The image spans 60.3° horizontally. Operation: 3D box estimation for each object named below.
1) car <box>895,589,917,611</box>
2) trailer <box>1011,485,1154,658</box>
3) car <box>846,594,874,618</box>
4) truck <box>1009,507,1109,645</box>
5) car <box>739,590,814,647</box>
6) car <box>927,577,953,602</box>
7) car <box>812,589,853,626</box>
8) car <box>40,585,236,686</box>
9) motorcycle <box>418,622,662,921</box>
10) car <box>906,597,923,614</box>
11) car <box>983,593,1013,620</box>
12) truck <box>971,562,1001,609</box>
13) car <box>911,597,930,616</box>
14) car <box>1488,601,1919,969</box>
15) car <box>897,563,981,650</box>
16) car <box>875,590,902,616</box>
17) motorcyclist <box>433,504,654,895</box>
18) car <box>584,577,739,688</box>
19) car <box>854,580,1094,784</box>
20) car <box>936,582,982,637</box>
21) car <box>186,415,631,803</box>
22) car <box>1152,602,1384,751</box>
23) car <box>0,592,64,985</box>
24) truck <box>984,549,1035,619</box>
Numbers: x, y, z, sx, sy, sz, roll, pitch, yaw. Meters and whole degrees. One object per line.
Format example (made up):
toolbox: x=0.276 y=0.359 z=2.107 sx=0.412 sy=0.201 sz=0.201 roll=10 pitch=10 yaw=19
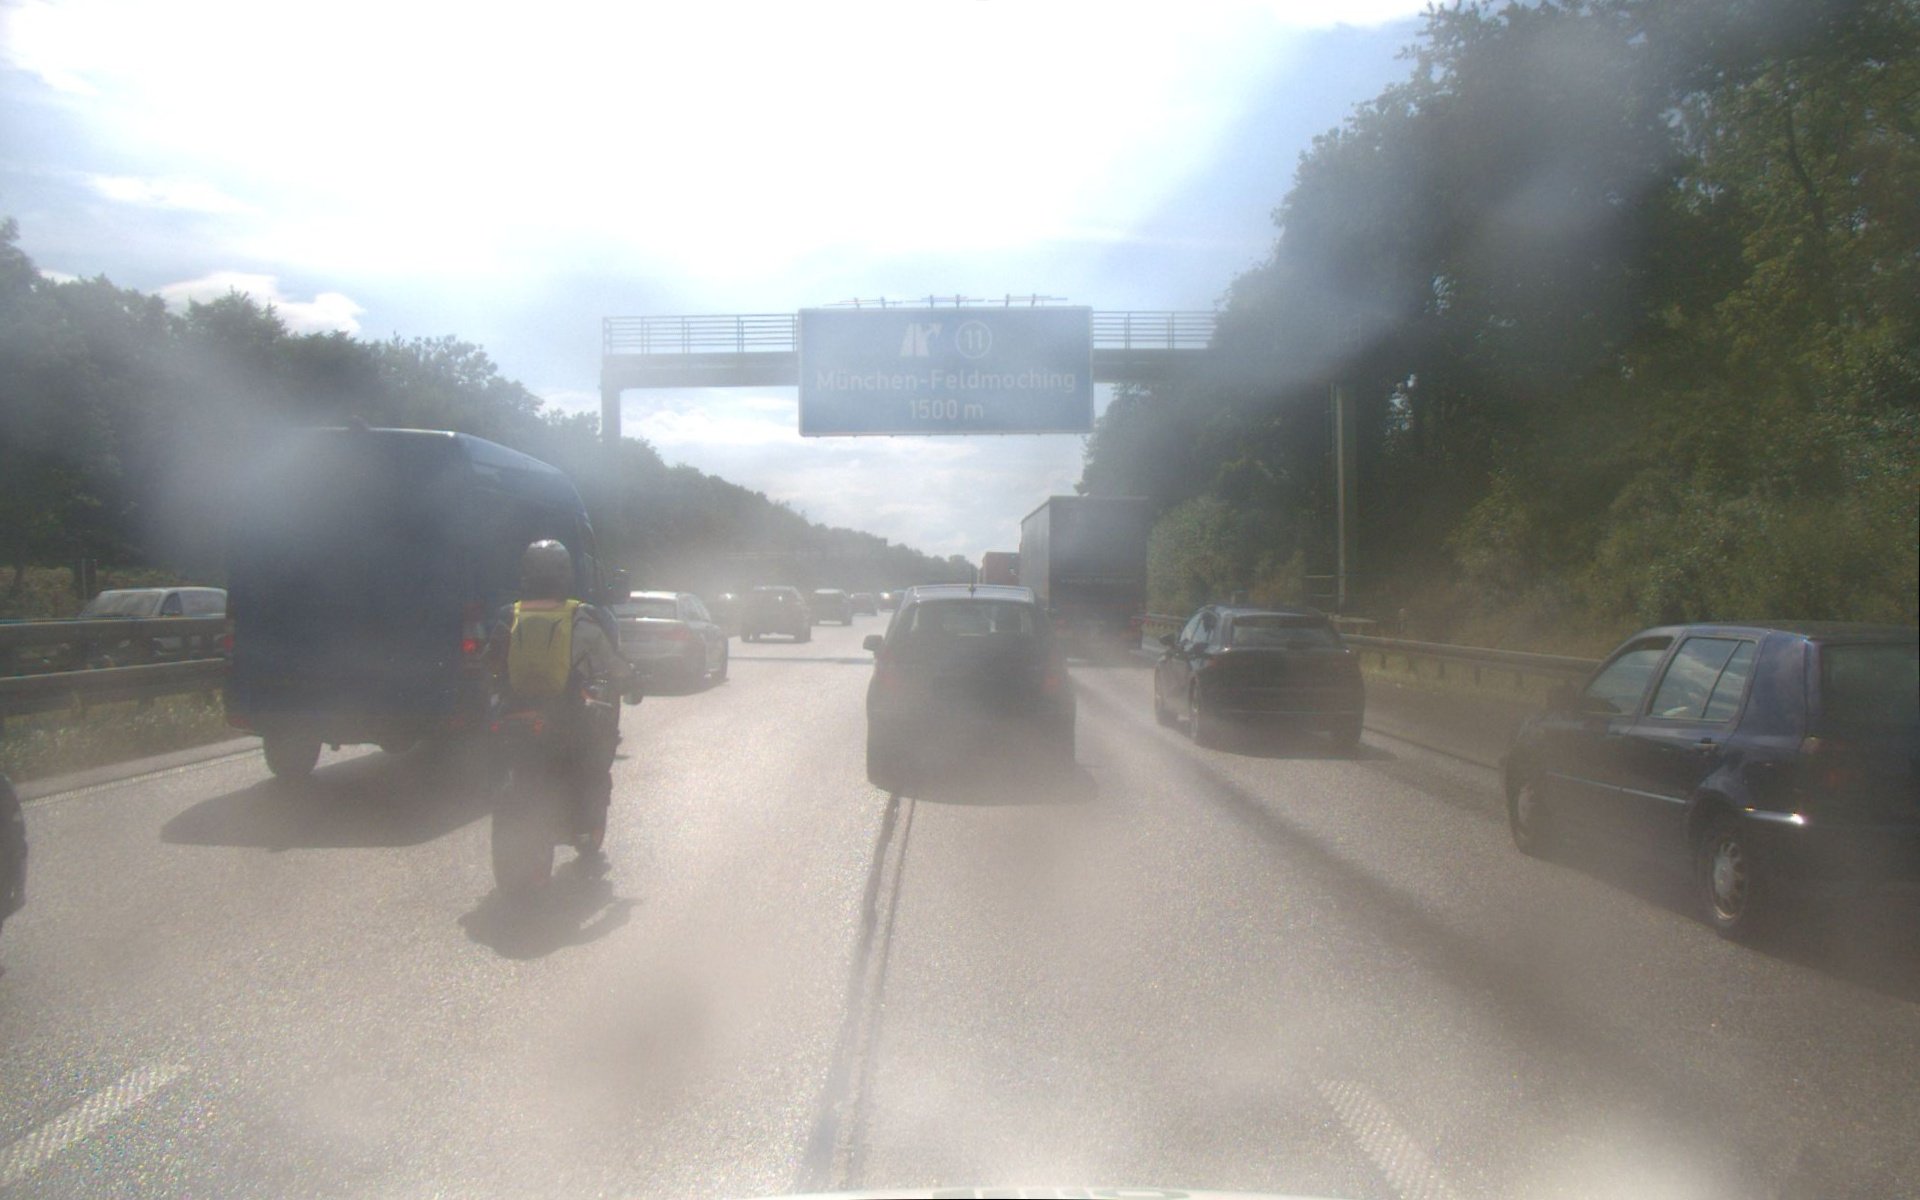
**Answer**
car: x=-5.135 y=0.029 z=156.510 sx=1.953 sy=2.049 sz=3.999 roll=1 pitch=0 yaw=-1
trailer: x=3.343 y=-0.742 z=49.115 sx=3.025 sy=4.388 sz=14.103 roll=1 pitch=0 yaw=-1
car: x=-6.509 y=0.375 z=107.550 sx=1.641 sy=1.516 sz=3.436 roll=1 pitch=0 yaw=-1
truck: x=3.298 y=-0.774 z=56.391 sx=2.989 sy=4.400 sz=5.886 roll=1 pitch=0 yaw=0
car: x=-5.556 y=0.541 z=50.638 sx=1.854 sy=1.656 sz=4.194 roll=1 pitch=0 yaw=-1
car: x=-1.245 y=-0.662 z=104.989 sx=1.598 sy=1.516 sz=3.436 roll=1 pitch=0 yaw=-1
car: x=-5.831 y=0.326 z=75.737 sx=1.641 sy=1.625 sz=3.436 roll=1 pitch=0 yaw=-1
car: x=-17.895 y=0.736 z=36.270 sx=1.953 sy=2.049 sz=4.730 roll=1 pitch=0 yaw=-1
motorcycle: x=-2.059 y=0.779 z=8.425 sx=0.803 sy=1.285 sz=2.116 roll=1 pitch=0 yaw=-3
car: x=-5.437 y=0.629 z=199.310 sx=1.953 sy=2.049 sz=3.999 roll=1 pitch=0 yaw=-1
car: x=2.178 y=0.359 z=95.259 sx=1.641 sy=1.516 sz=3.436 roll=1 pitch=0 yaw=-1
truck: x=2.692 y=-1.494 z=175.486 sx=2.823 sy=4.769 sz=12.657 roll=1 pitch=0 yaw=0
car: x=-4.304 y=0.696 z=179.472 sx=1.953 sy=2.049 sz=3.999 roll=1 pitch=0 yaw=-1
car: x=4.211 y=0.760 z=8.630 sx=1.617 sy=1.481 sz=3.743 roll=0 pitch=0 yaw=-2
car: x=-0.523 y=0.159 z=41.098 sx=1.953 sy=2.049 sz=3.999 roll=1 pitch=0 yaw=-1
car: x=-5.748 y=0.224 z=133.039 sx=1.953 sy=2.049 sz=3.999 roll=1 pitch=0 yaw=-1
motorcyclist: x=-2.047 y=0.464 z=8.323 sx=0.805 sy=1.791 sz=1.389 roll=1 pitch=0 yaw=-4
car: x=-4.671 y=0.468 z=26.439 sx=1.722 sy=1.622 sz=4.330 roll=0 pitch=0 yaw=-1
car: x=0.090 y=0.640 z=15.182 sx=1.876 sy=1.592 sz=4.313 roll=1 pitch=0 yaw=-1
car: x=-0.067 y=0.333 z=61.616 sx=1.641 sy=1.970 sz=3.773 roll=1 pitch=0 yaw=-1
car: x=-4.424 y=0.057 z=14.436 sx=1.974 sy=2.695 sz=5.776 roll=1 pitch=0 yaw=-1
car: x=3.261 y=0.746 z=18.327 sx=1.719 sy=1.421 sz=4.368 roll=1 pitch=0 yaw=-1
car: x=-4.326 y=0.687 z=4.207 sx=1.684 sy=1.436 sz=4.467 roll=1 pitch=0 yaw=-1
truck: x=3.267 y=-1.063 z=111.153 sx=3.136 sy=4.481 sz=9.432 roll=1 pitch=0 yaw=0
